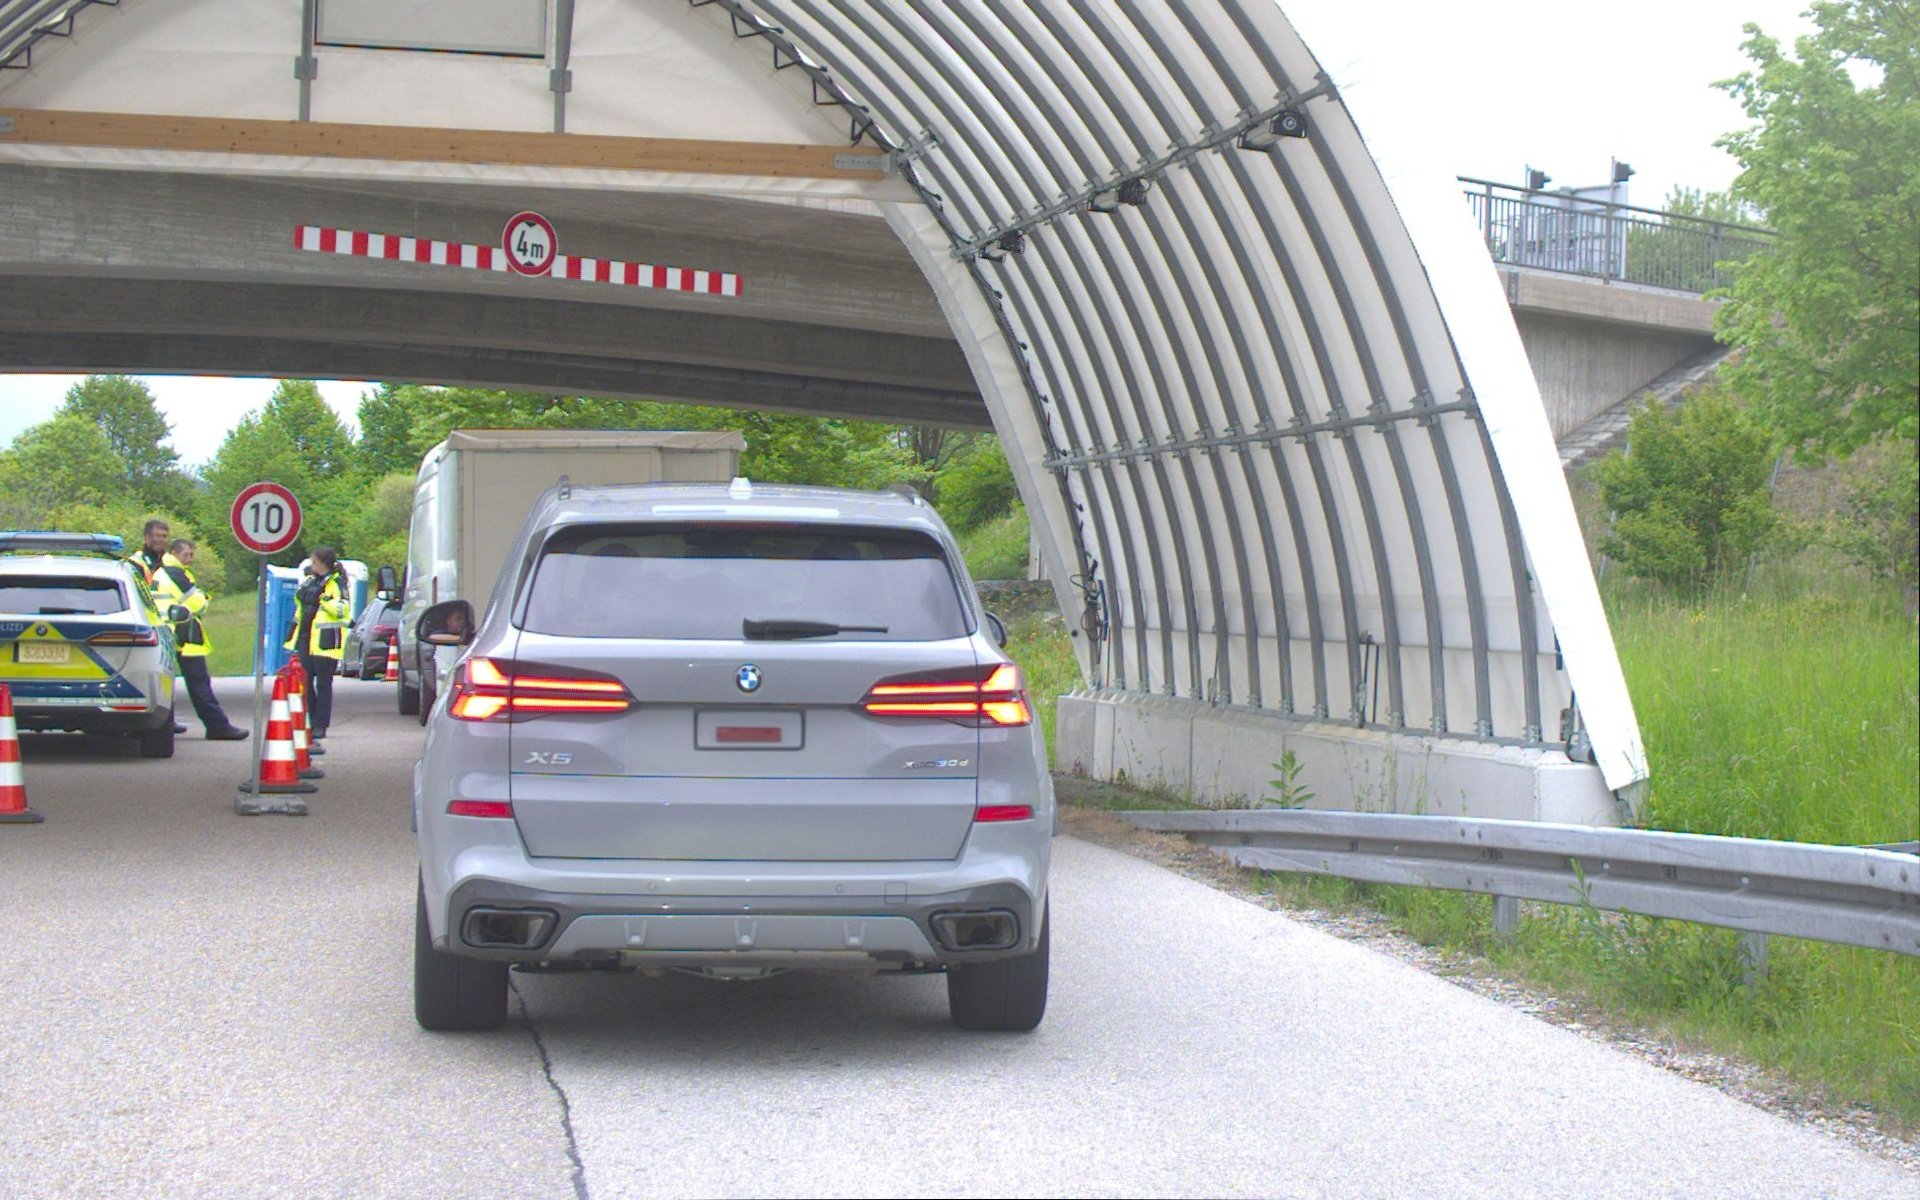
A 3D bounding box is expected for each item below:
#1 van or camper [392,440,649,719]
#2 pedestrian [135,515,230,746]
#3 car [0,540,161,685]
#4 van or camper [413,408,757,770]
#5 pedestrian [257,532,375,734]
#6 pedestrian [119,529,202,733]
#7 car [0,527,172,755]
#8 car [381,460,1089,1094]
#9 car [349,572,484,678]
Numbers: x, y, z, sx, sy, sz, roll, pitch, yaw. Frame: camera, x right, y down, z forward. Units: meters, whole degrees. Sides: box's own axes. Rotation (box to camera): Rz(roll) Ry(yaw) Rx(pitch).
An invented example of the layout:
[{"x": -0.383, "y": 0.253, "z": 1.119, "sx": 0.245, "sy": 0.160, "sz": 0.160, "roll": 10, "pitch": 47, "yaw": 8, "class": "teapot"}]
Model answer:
[{"x": -4.422, "y": -0.204, "z": 33.845, "sx": 2.103, "sy": 2.510, "sz": 5.553, "roll": 0, "pitch": 0, "yaw": -12, "class": "van or camper"}, {"x": -6.553, "y": 0.249, "z": 28.948, "sx": 0.749, "sy": 1.912, "sz": 0.763, "roll": 0, "pitch": 0, "yaw": -15, "class": "pedestrian"}, {"x": -14.019, "y": 0.164, "z": 48.954, "sx": 4.807, "sy": 2.007, "sz": 1.840, "roll": 0, "pitch": 0, "yaw": 7, "class": "car"}, {"x": -3.167, "y": -0.106, "z": 27.615, "sx": 2.229, "sy": 2.543, "sz": 6.612, "roll": 0, "pitch": 0, "yaw": -11, "class": "van or camper"}, {"x": -5.534, "y": 0.279, "z": 29.570, "sx": 0.780, "sy": 1.716, "sz": 0.756, "roll": 0, "pitch": 0, "yaw": 9, "class": "pedestrian"}, {"x": -6.951, "y": 0.264, "z": 29.911, "sx": 0.609, "sy": 1.748, "sz": 0.666, "roll": 0, "pitch": 0, "yaw": -6, "class": "pedestrian"}, {"x": -7.156, "y": 0.279, "z": 26.763, "sx": 1.877, "sy": 1.641, "sz": 4.001, "roll": 0, "pitch": 0, "yaw": -15, "class": "car"}, {"x": -0.938, "y": 0.474, "z": 11.672, "sx": 1.993, "sy": 1.759, "sz": 4.001, "roll": 0, "pitch": 0, "yaw": -9, "class": "car"}, {"x": -9.271, "y": 0.398, "z": 58.412, "sx": 1.993, "sy": 1.716, "sz": 3.897, "roll": 0, "pitch": 0, "yaw": -13, "class": "car"}]
